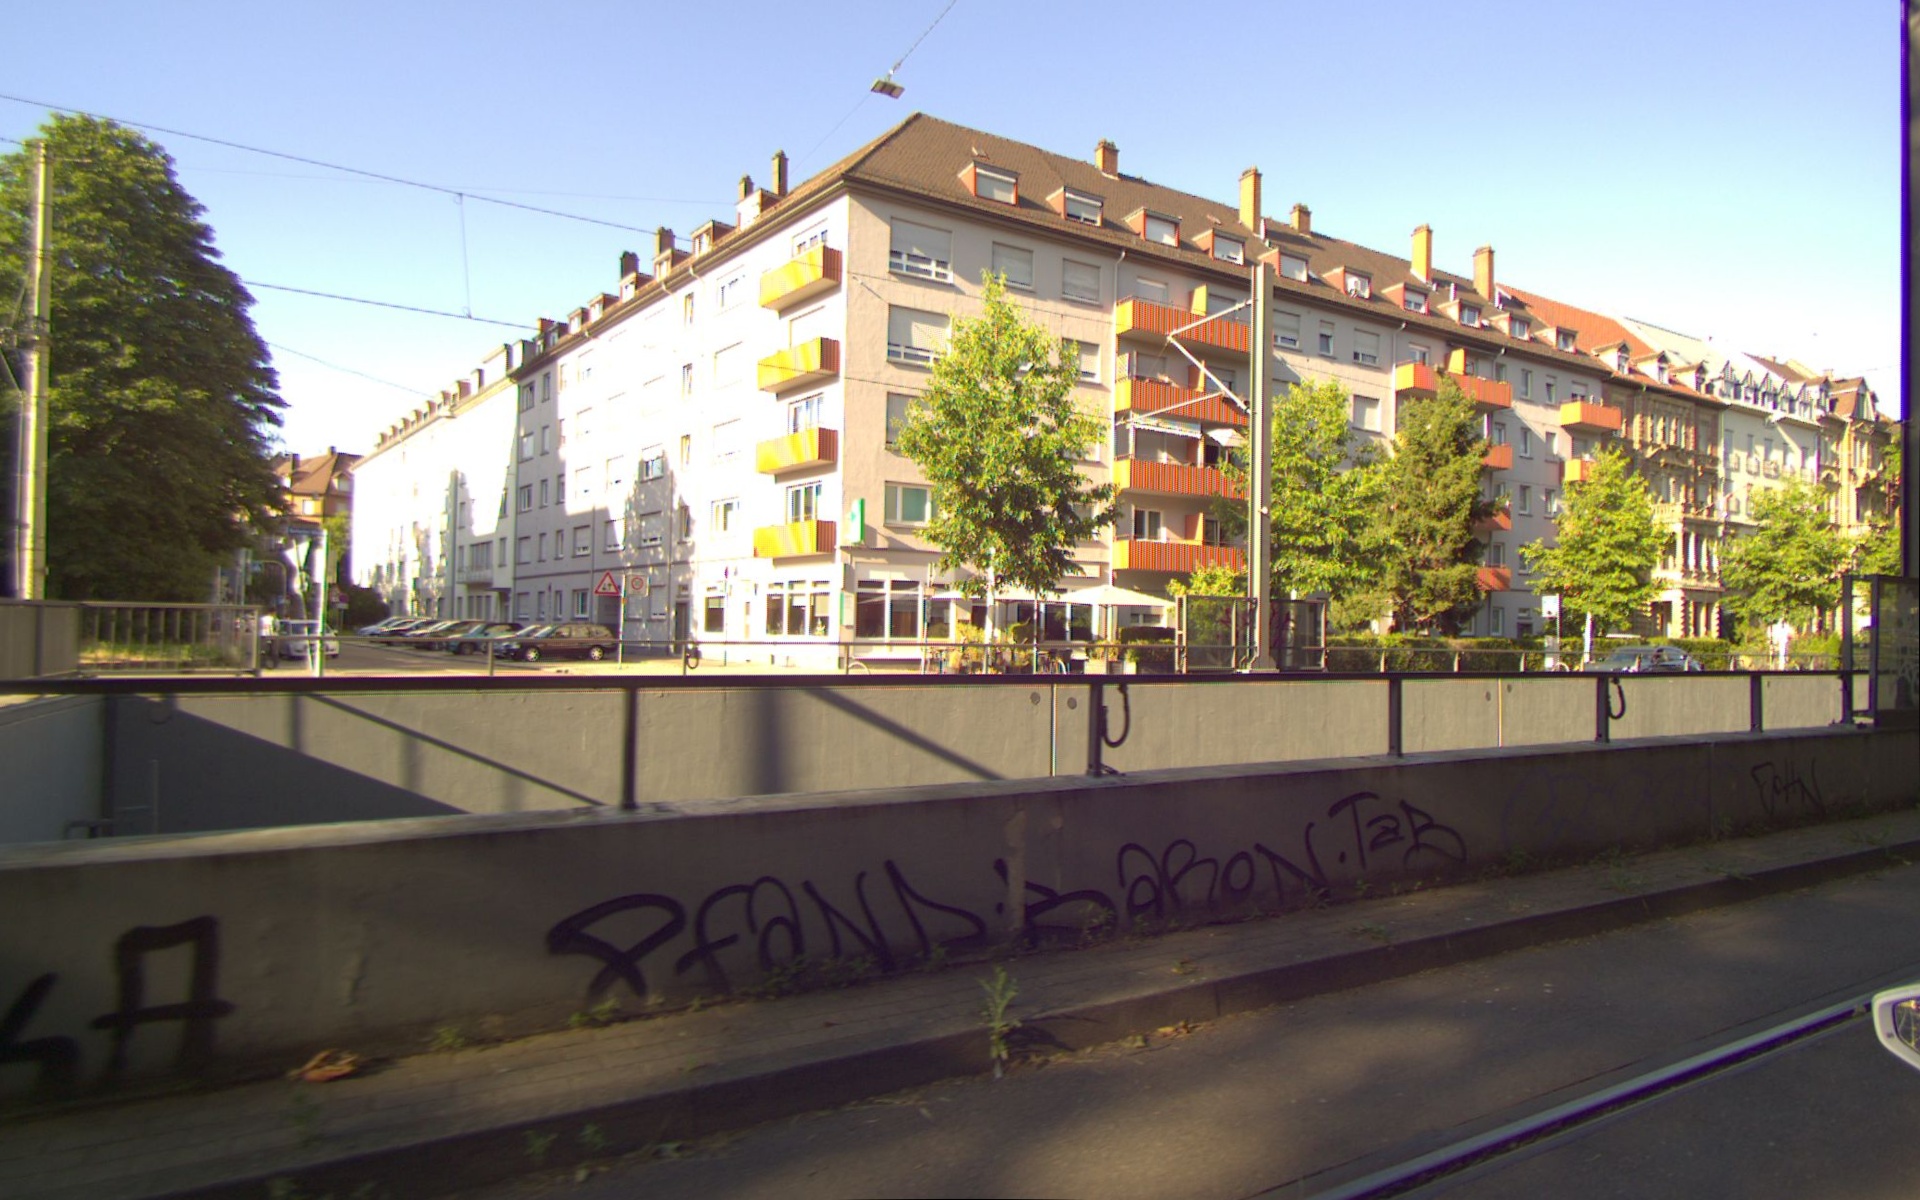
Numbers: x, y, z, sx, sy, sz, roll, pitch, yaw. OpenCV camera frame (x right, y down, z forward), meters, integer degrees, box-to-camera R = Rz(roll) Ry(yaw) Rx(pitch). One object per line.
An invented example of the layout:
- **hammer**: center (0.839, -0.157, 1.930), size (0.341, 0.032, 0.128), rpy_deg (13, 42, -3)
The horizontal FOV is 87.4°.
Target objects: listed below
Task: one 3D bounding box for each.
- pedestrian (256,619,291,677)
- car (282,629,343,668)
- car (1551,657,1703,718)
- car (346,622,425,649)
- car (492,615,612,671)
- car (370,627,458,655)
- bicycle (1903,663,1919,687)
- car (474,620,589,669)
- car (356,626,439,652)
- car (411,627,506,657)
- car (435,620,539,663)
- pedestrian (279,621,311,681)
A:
- **pedestrian**: center (-19.200, 1.326, 28.103), size (0.719, 1.577, 0.654), rpy_deg (1, -1, -29)
- **car**: center (-24.949, 1.844, 38.669), size (1.684, 1.439, 3.636), rpy_deg (1, -2, -37)
- **car**: center (19.440, 2.487, 29.241), size (4.355, 1.524, 1.962), rpy_deg (1, -1, -30)
- **car**: center (-35.669, 2.211, 62.405), size (3.969, 1.572, 1.976), rpy_deg (2, -1, -41)
- **car**: center (-15.859, 1.634, 39.095), size (3.951, 2.040, 1.803), rpy_deg (2, -1, -41)
- **car**: center (-30.547, 2.282, 56.224), size (3.969, 1.439, 1.976), rpy_deg (2, -1, -41)
- **bicycle**: center (50.411, 3.945, 52.333), size (0.555, 1.194, 1.802), rpy_deg (1, -1, -26)
- **car**: center (-17.575, 1.794, 41.272), size (3.969, 1.884, 1.976), rpy_deg (2, -1, -41)
- **car**: center (-33.283, 2.291, 59.464), size (3.969, 1.439, 1.976), rpy_deg (2, -1, -41)
- **car**: center (-25.320, 2.098, 50.774), size (3.969, 1.439, 1.976), rpy_deg (2, -1, -41)
- **car**: center (-21.891, 1.904, 46.505), size (3.969, 1.884, 1.976), rpy_deg (2, -1, -41)
- **pedestrian**: center (-19.148, 1.464, 28.929), size (0.712, 1.677, 0.508), rpy_deg (1, -2, -30)
